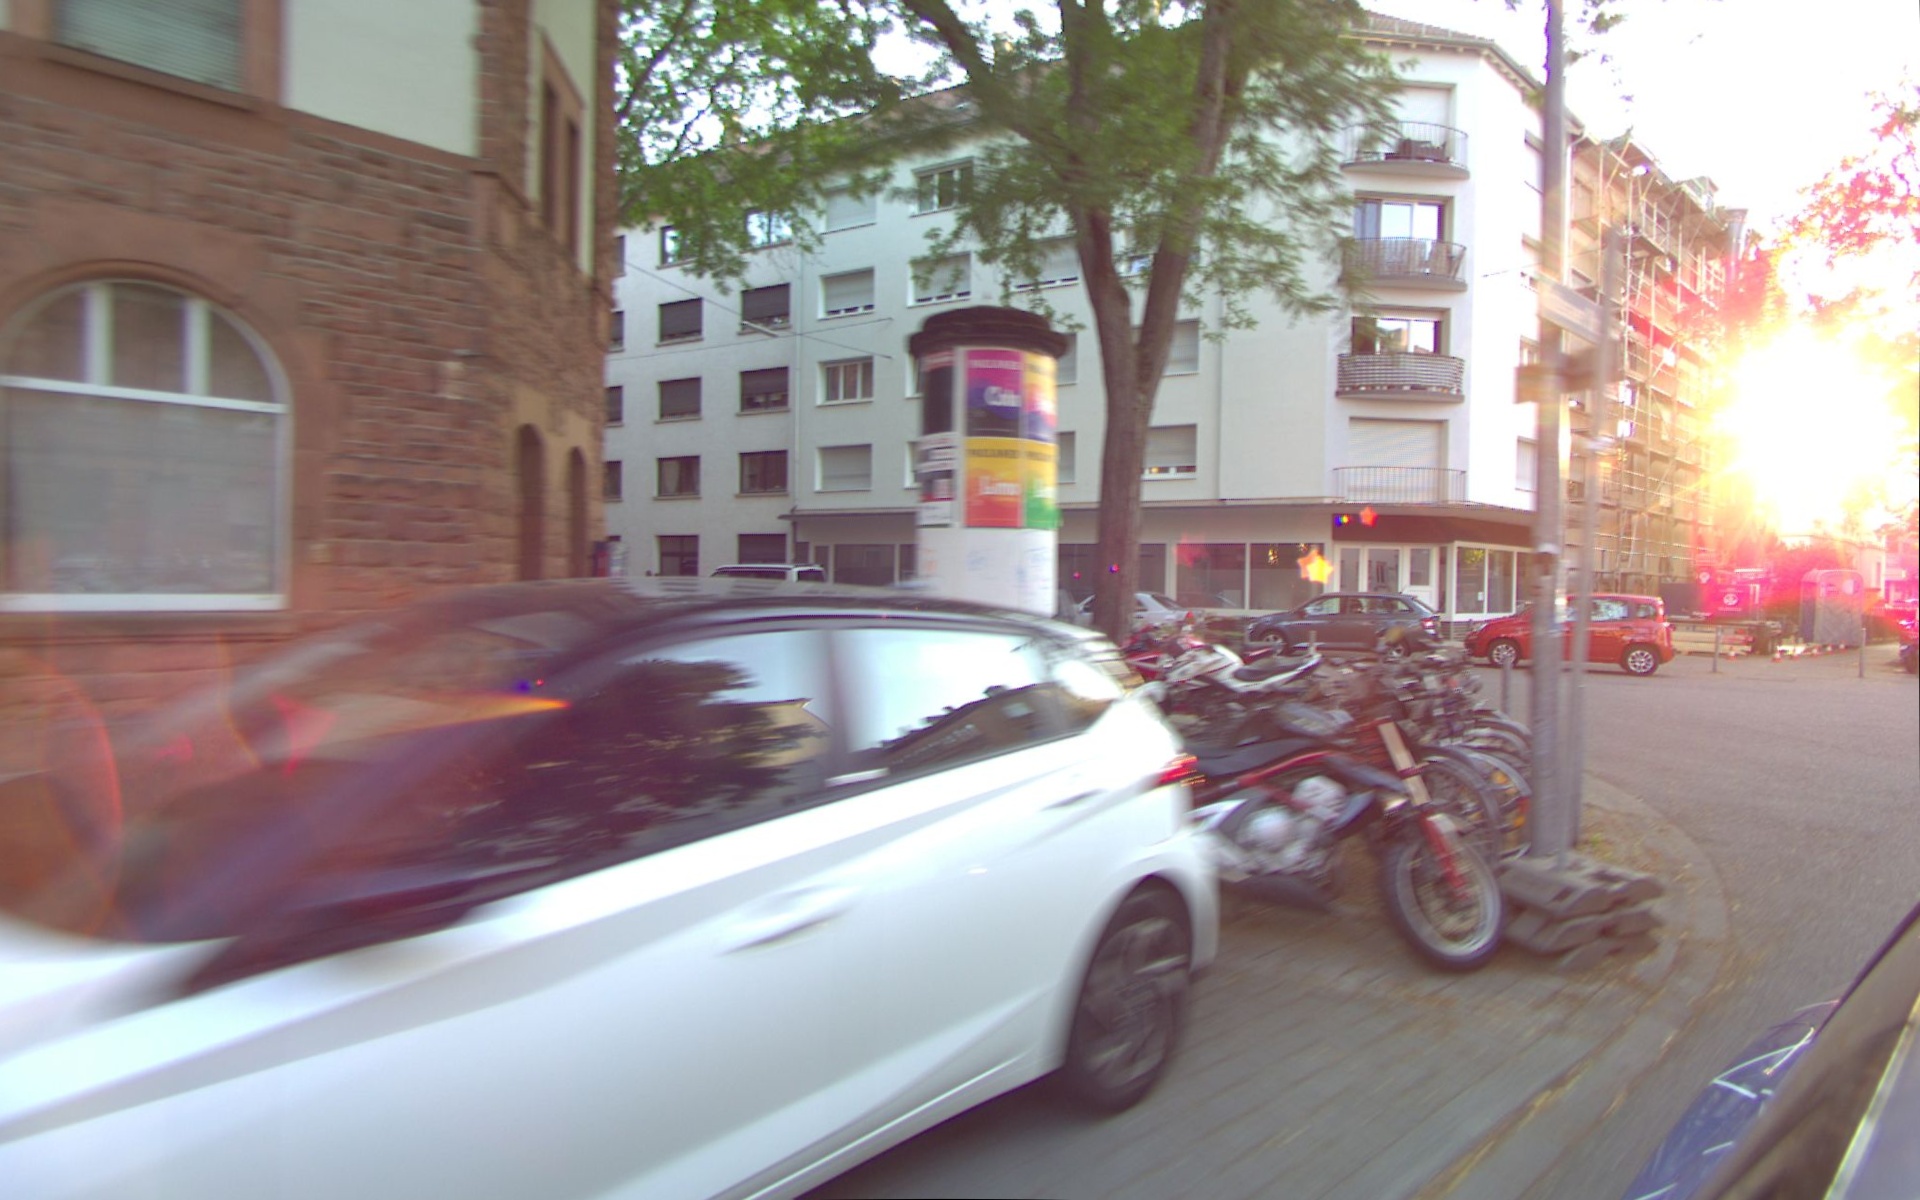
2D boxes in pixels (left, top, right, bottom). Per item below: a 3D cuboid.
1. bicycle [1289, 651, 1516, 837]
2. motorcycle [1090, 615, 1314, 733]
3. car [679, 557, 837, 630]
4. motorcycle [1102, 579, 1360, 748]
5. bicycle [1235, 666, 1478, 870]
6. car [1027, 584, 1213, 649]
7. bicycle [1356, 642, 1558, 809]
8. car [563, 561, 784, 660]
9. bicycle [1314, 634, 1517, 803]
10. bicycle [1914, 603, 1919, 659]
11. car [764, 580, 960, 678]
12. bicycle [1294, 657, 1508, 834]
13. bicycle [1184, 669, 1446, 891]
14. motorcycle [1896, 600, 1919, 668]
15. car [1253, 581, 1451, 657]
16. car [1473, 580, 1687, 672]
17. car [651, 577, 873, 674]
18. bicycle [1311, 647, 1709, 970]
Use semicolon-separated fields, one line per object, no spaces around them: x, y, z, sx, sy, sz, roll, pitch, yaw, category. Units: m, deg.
2.687;0.842;6.192;1.217;0.969;0.327;2;0;28;bicycle
2.474;0.751;10.483;2.174;1.093;0.437;2;0;5;motorcycle
-6.042;-0.232;30.232;4.433;2.044;1.891;1;1;27;car
2.458;0.559;9.344;2.173;1.426;0.585;2;0;4;motorcycle
2.212;0.900;5.686;1.217;0.959;0.327;2;0;28;bicycle
3.865;0.347;24.572;4.194;1.446;1.642;1;2;27;car
3.510;0.847;7.220;0.325;0.999;1.226;2;1;-42;bicycle
-5.539;0.151;20.032;1.763;1.742;4.096;1;1;32;car
3.153;0.782;7.080;0.325;1.000;1.225;2;1;-43;bicycle
22.659;0.778;22.602;1.904;1.273;0.400;5;4;45;bicycle
-1.601;0.418;17.504;1.668;1.496;3.394;1;1;32;car
2.854;0.909;6.593;1.219;0.975;0.326;2;0;33;bicycle
1.809;0.886;5.228;1.214;0.963;0.328;2;0;23;bicycle
20.751;0.715;21.694;2.022;1.372;0.504;0;3;-34;motorcycle
8.520;0.364;22.063;3.863;1.527;1.609;1;0;29;car
12.172;0.458;20.079;3.450;1.593;1.608;2;1;31;car
-3.530;0.383;18.679;1.812;1.573;3.954;1;1;32;car
2.320;0.814;4.272;1.602;1.188;0.446;0;1;-15;bicycle
